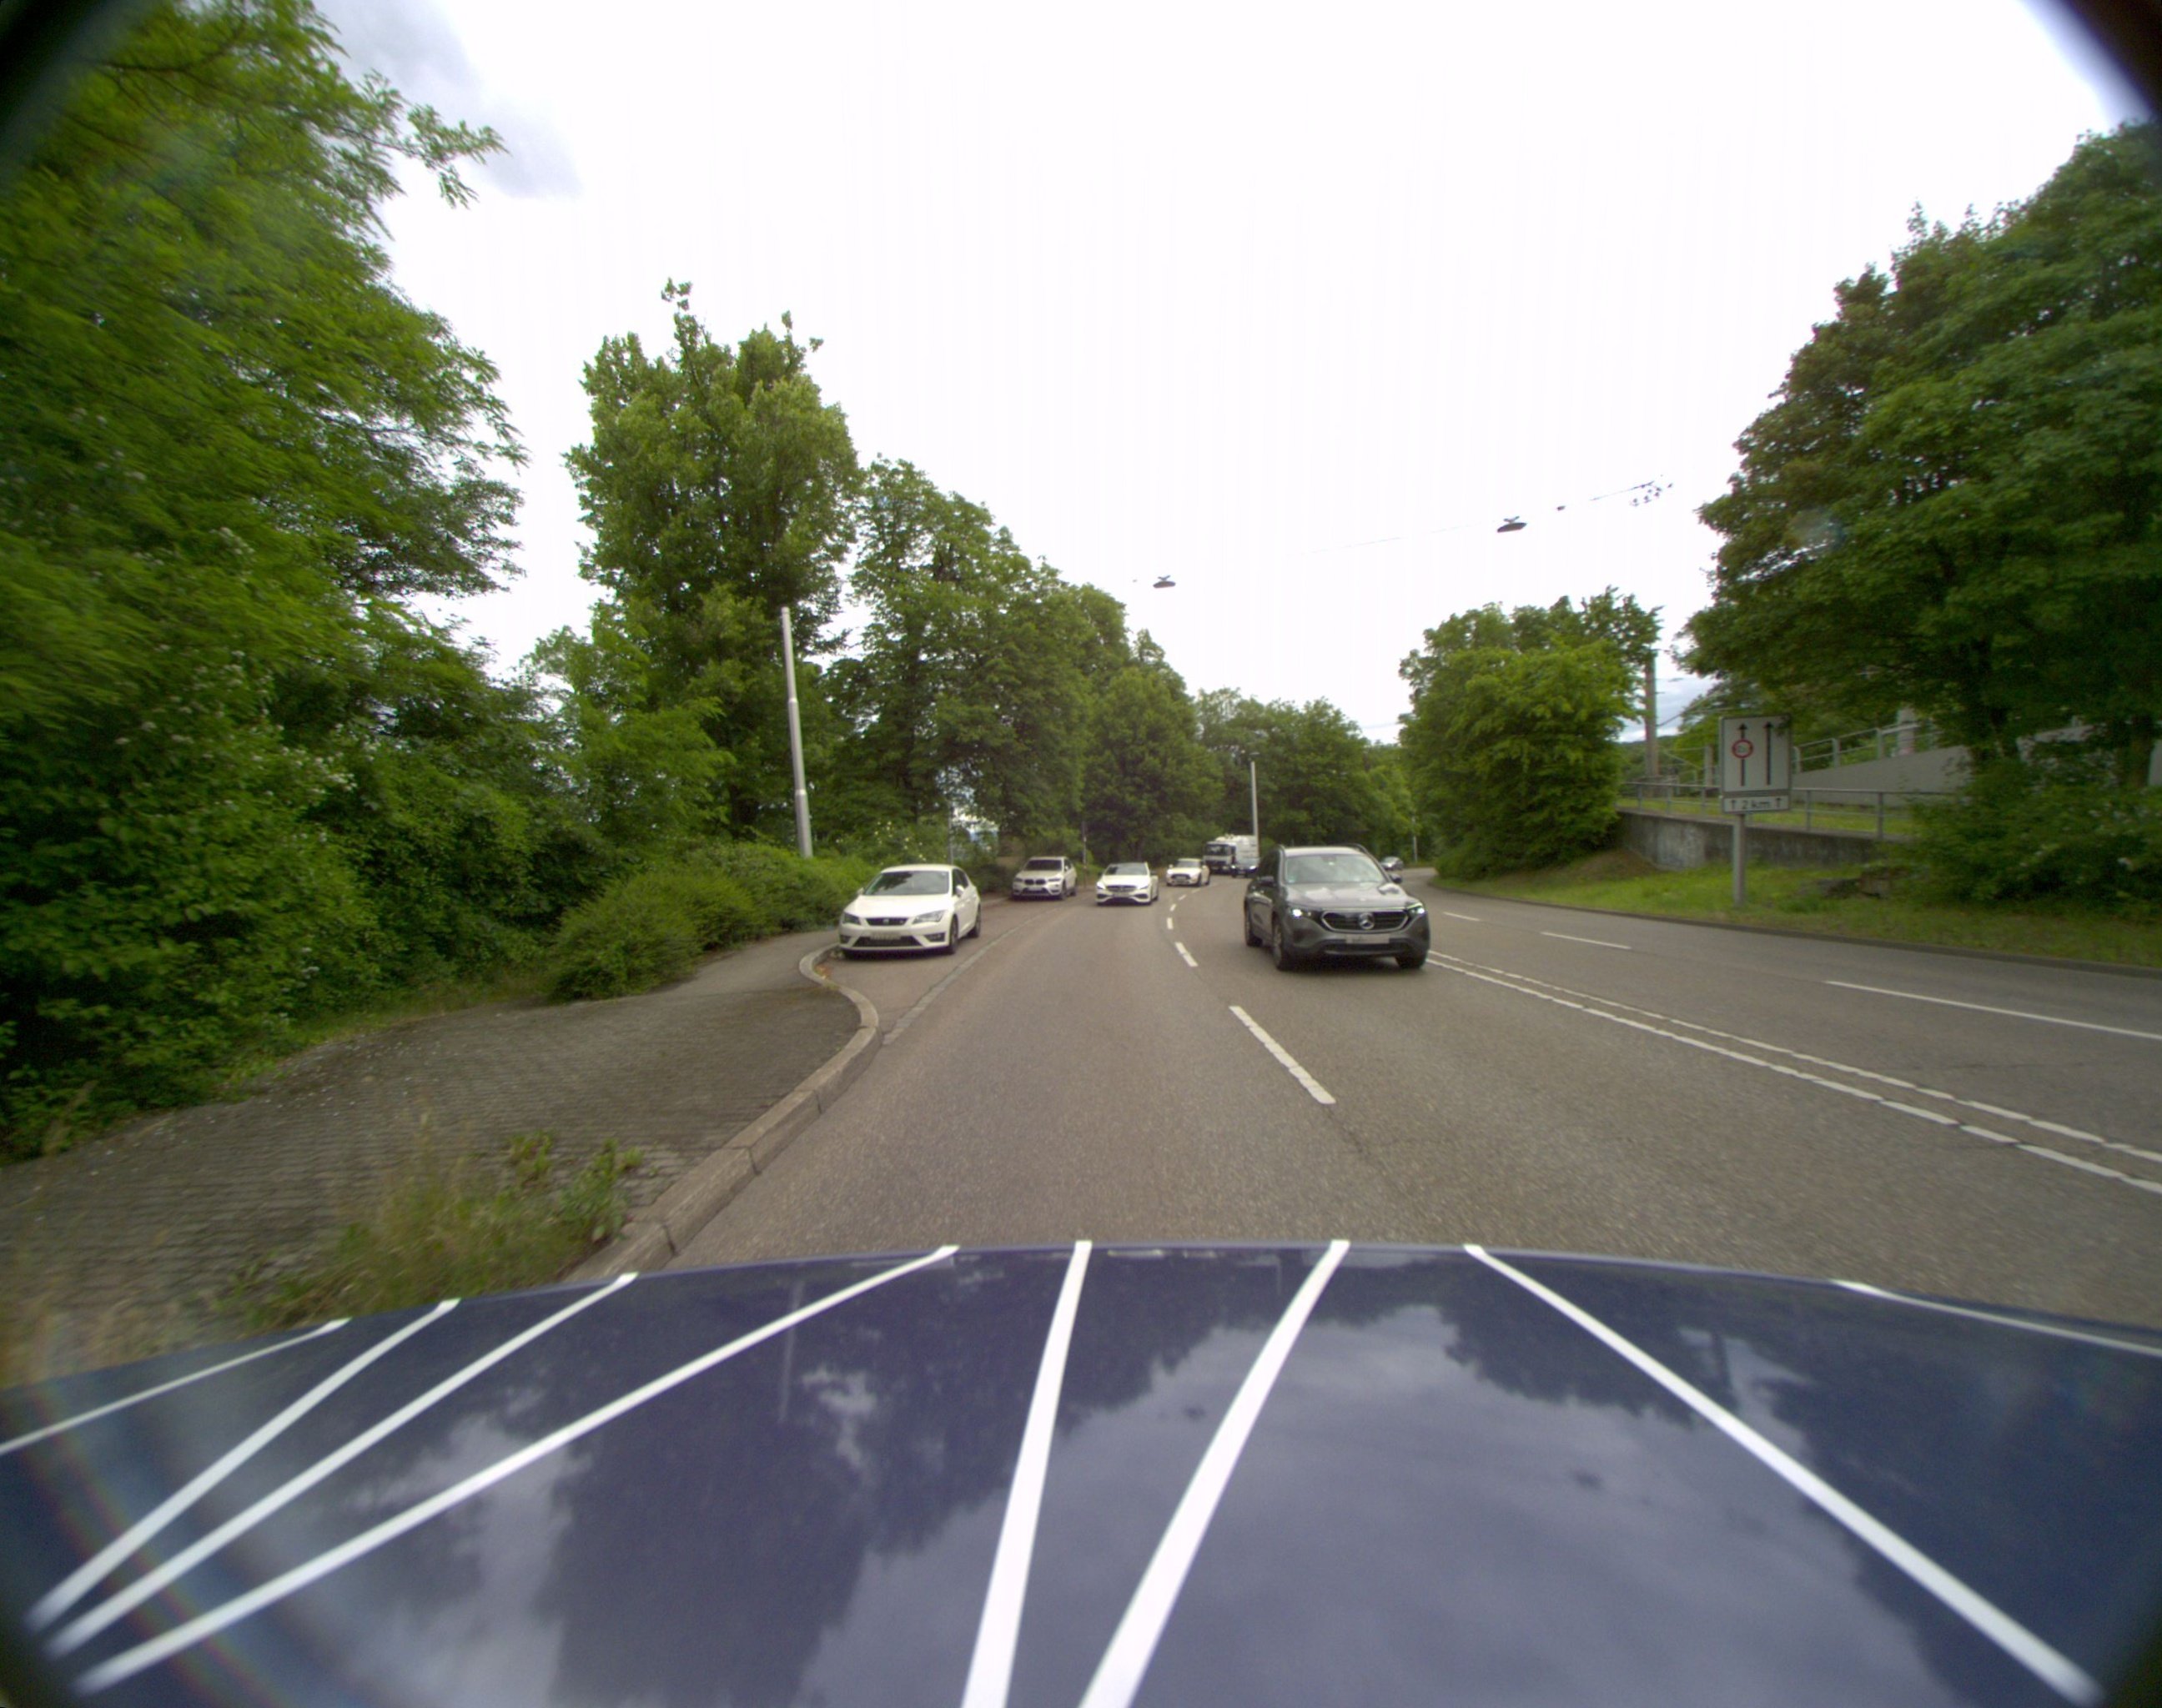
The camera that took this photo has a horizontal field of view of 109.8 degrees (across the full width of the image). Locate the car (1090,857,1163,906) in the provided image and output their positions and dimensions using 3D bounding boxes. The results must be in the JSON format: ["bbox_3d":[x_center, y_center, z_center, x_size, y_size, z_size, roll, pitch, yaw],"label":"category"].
[{"bbox_3d":[1.633,0.874,25.630,1.800,1.470,4.014,-1,0,13],"label":"car"}]

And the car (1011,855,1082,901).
[{"bbox_3d":[-1.212,0.859,28.619,1.754,1.575,4.014,-1,0,11],"label":"car"}]

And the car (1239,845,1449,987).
[{"bbox_3d":[3.506,0.735,11.020,1.853,1.641,4.359,-1,0,5],"label":"car"}]

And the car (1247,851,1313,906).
[{"bbox_3d":[6.564,0.755,25.441,1.852,1.641,4.361,-1,0,11],"label":"car"}]

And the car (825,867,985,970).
[{"bbox_3d":[-2.842,0.988,13.143,1.765,1.433,3.892,-1,0,1],"label":"car"}]

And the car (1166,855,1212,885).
[{"bbox_3d":[5.646,0.776,39.487,1.686,1.416,3.737,0,1,19],"label":"car"}]

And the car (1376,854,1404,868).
[{"bbox_3d":[31.381,0.654,77.152,1.751,1.354,4.019,1,1,36],"label":"car"}]

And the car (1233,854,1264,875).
[{"bbox_3d":[11.955,0.699,54.152,1.753,1.417,4.016,1,0,18],"label":"car"}]

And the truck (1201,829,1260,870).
[{"bbox_3d":[12.098,-0.353,60.963,2.195,3.137,6.664,-1,0,33],"label":"truck"}]
